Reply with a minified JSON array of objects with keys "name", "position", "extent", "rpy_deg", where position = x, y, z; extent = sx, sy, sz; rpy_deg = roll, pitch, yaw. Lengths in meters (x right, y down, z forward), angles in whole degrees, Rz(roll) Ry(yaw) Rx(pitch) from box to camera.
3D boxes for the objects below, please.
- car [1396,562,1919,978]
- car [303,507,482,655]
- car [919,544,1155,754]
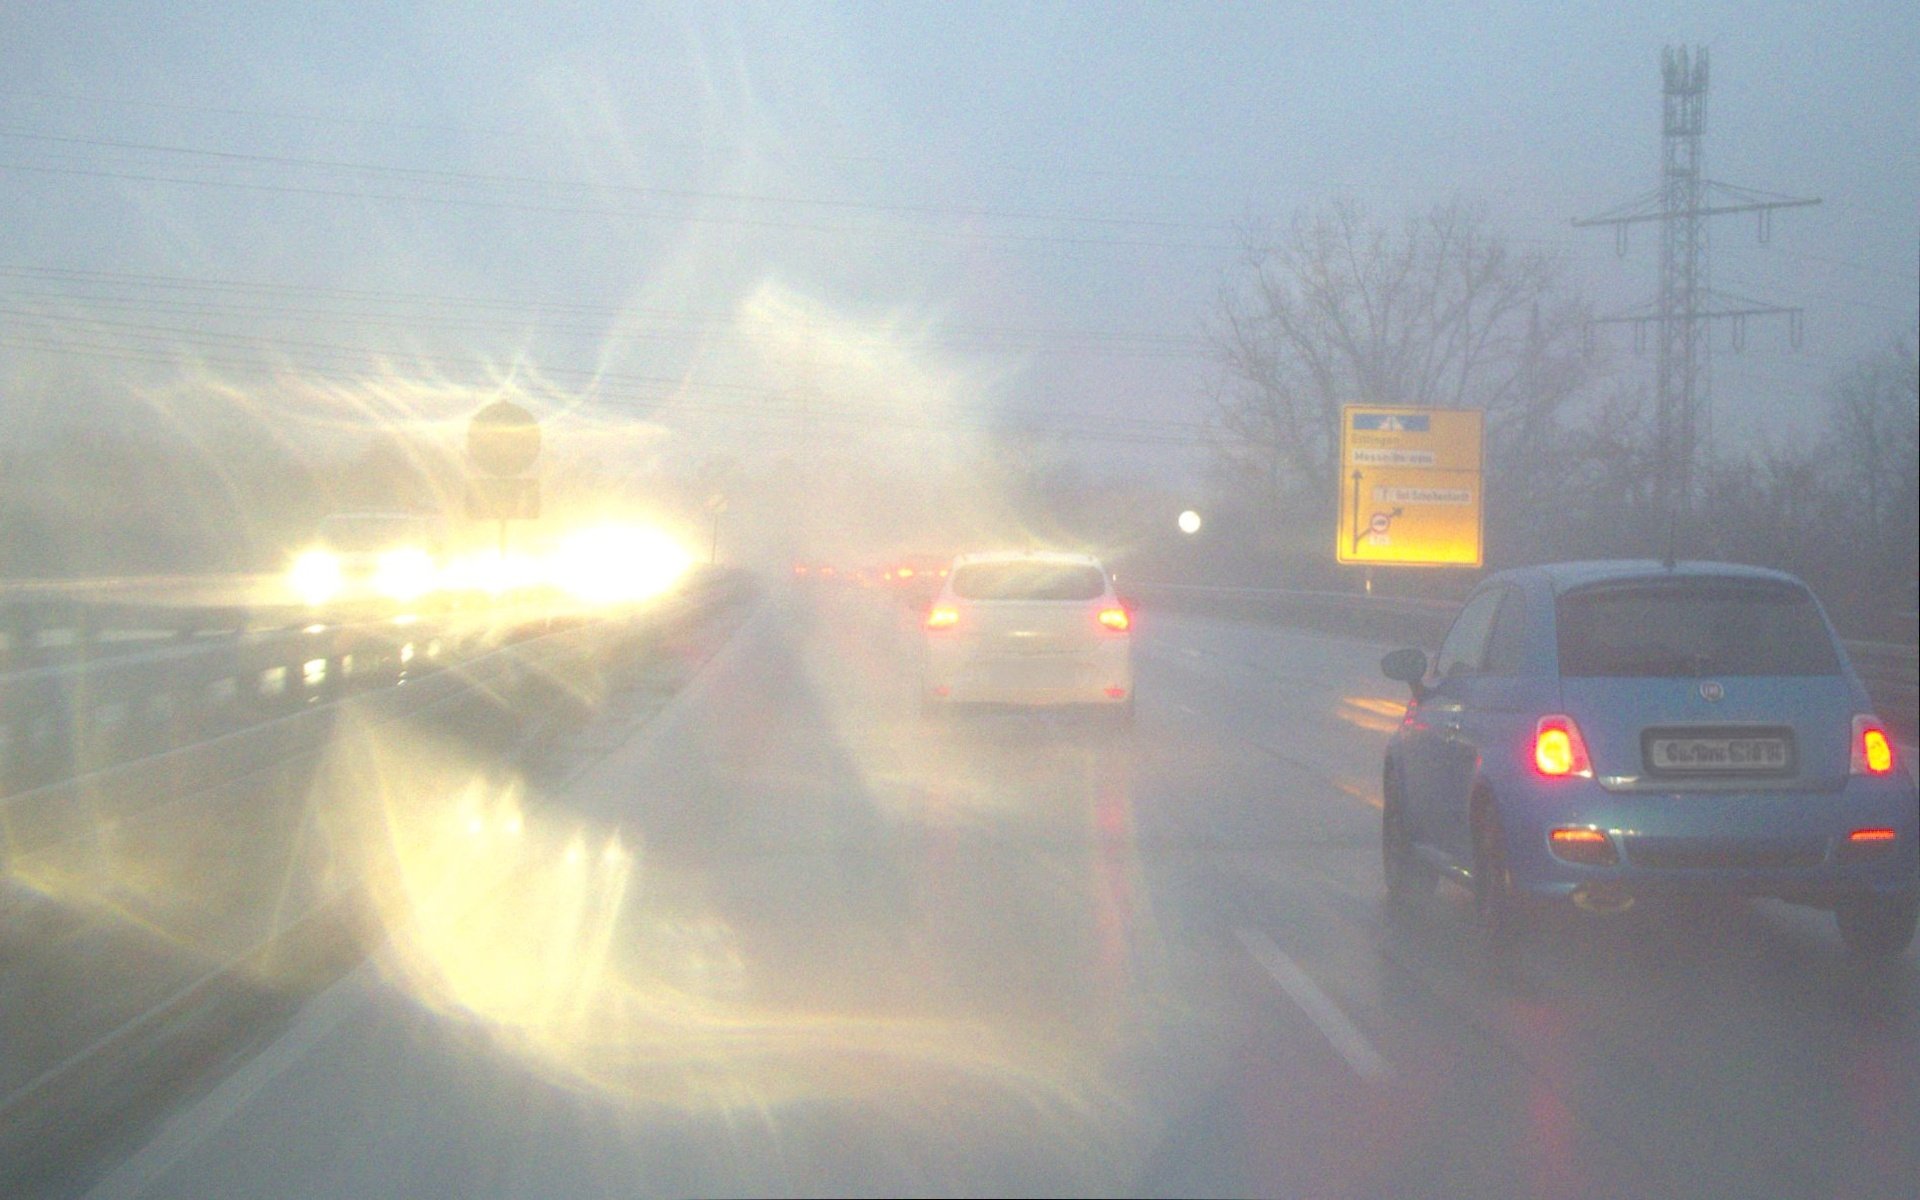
[{"name":"car","position":[3.107,0.618,14.924],"extent":[1.845,1.448,4.149],"rpy_deg":[0,2,-1]},{"name":"car","position":[-8.734,-0.349,53.315],"extent":[1.993,2.128,5.200],"rpy_deg":[0,2,-1]},{"name":"car","position":[0.595,0.361,29.301],"extent":[1.845,1.630,3.768],"rpy_deg":[1,1,-1]}]
